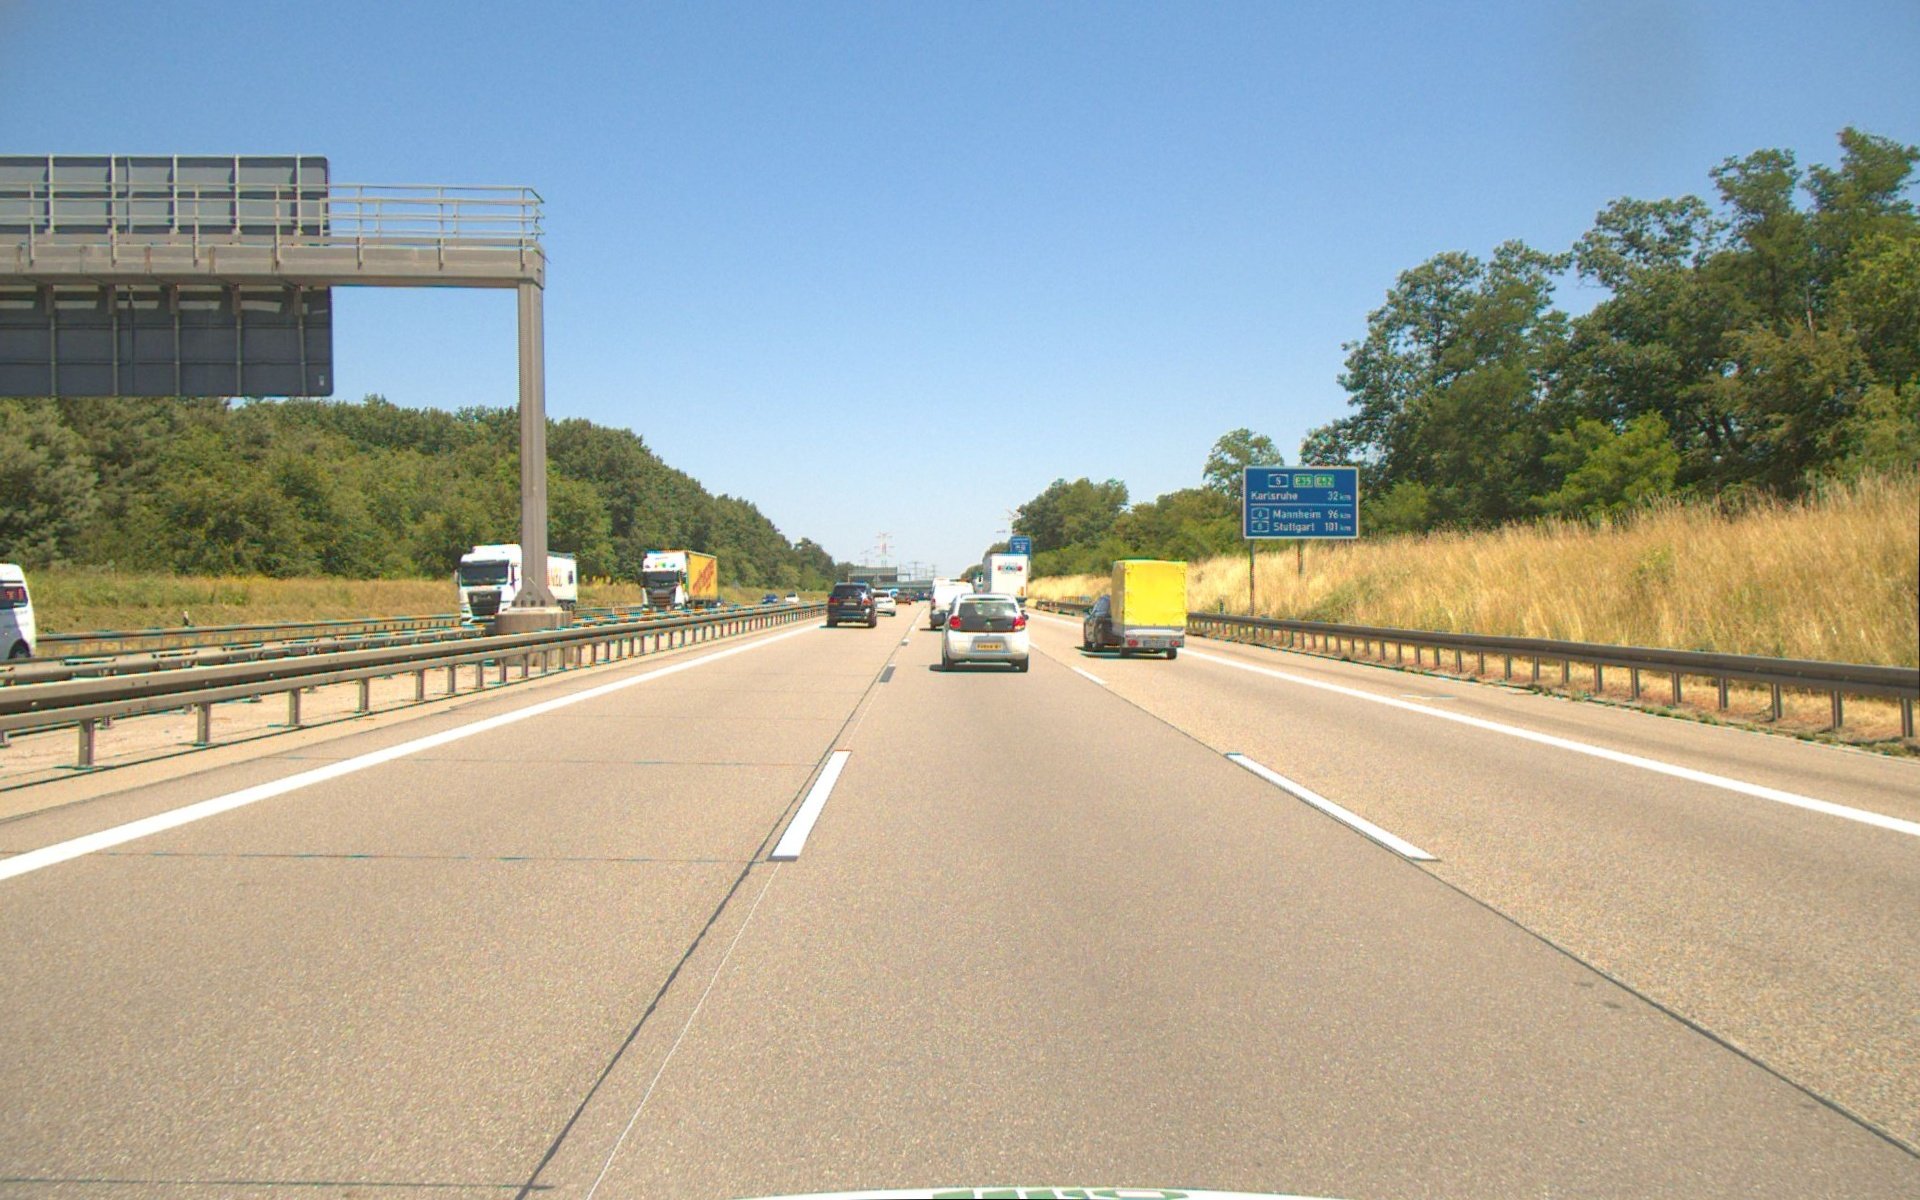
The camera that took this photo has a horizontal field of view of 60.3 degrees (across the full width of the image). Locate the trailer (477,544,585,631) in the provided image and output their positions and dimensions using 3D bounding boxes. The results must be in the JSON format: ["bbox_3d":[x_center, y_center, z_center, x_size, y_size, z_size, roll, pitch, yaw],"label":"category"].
[{"bbox_3d":[-21.561,-0.634,83.837,2.572,4.017,11.155,-3,0,-1],"label":"trailer"}]

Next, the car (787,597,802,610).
[{"bbox_3d":[-23.313,0.536,233.044,1.667,1.690,5.115,-3,0,-1],"label":"car"}]

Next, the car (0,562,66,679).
[{"bbox_3d":[-20.439,0.469,33.143,1.948,2.381,5.808,-3,0,-2],"label":"car"}]

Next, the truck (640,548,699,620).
[{"bbox_3d":[-17.601,-0.969,100.589,2.414,4.143,6.286,-3,0,-1],"label":"truck"}]

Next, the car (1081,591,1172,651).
[{"bbox_3d":[4.378,0.531,44.190,1.784,1.481,4.786,1,0,-2],"label":"car"}]

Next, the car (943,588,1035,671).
[{"bbox_3d":[0.517,0.534,32.610,1.673,1.521,4.023,1,0,-1],"label":"car"}]

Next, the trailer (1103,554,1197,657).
[{"bbox_3d":[4.521,0.123,39.876,1.669,2.329,3.838,1,0,-2],"label":"trailer"}]

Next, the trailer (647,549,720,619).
[{"bbox_3d":[-17.721,-1.020,107.097,2.414,4.143,14.276,-3,0,-1],"label":"trailer"}]

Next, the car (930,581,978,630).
[{"bbox_3d":[-0.277,0.207,64.289,1.777,1.859,5.109,0,0,-1],"label":"car"}]

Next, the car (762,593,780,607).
[{"bbox_3d":[-23.355,0.033,204.201,1.667,1.572,4.534,-3,0,-1],"label":"car"}]

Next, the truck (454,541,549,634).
[{"bbox_3d":[-21.398,-0.592,77.556,2.572,4.017,6.481,-3,0,-1],"label":"truck"}]

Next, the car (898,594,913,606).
[{"bbox_3d":[-5.984,0.009,183.036,1.574,1.323,3.673,1,0,-1],"label":"car"}]

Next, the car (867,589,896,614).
[{"bbox_3d":[-4.572,0.076,96.371,1.635,1.426,3.711,0,1,-2],"label":"car"}]

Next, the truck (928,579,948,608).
[{"bbox_3d":[-2.294,-0.677,171.587,2.018,2.965,7.001,0,0,-1],"label":"truck"}]

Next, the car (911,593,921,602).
[{"bbox_3d":[-6.194,-0.381,232.048,1.377,1.151,3.357,1,0,-1],"label":"car"}]

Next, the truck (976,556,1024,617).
[{"bbox_3d":[2.902,-0.986,121.653,3.219,4.293,6.006,1,0,-1],"label":"truck"}]

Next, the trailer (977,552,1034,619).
[{"bbox_3d":[3.048,-0.951,114.715,3.219,4.293,13.561,1,0,-1],"label":"trailer"}]

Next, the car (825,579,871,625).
[{"bbox_3d":[-4.432,0.070,65.749,1.593,1.785,3.804,1,0,-1],"label":"car"}]

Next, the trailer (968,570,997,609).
[{"bbox_3d":[2.332,-1.095,175.327,2.628,3.904,12.006,1,0,-1],"label":"trailer"}]
